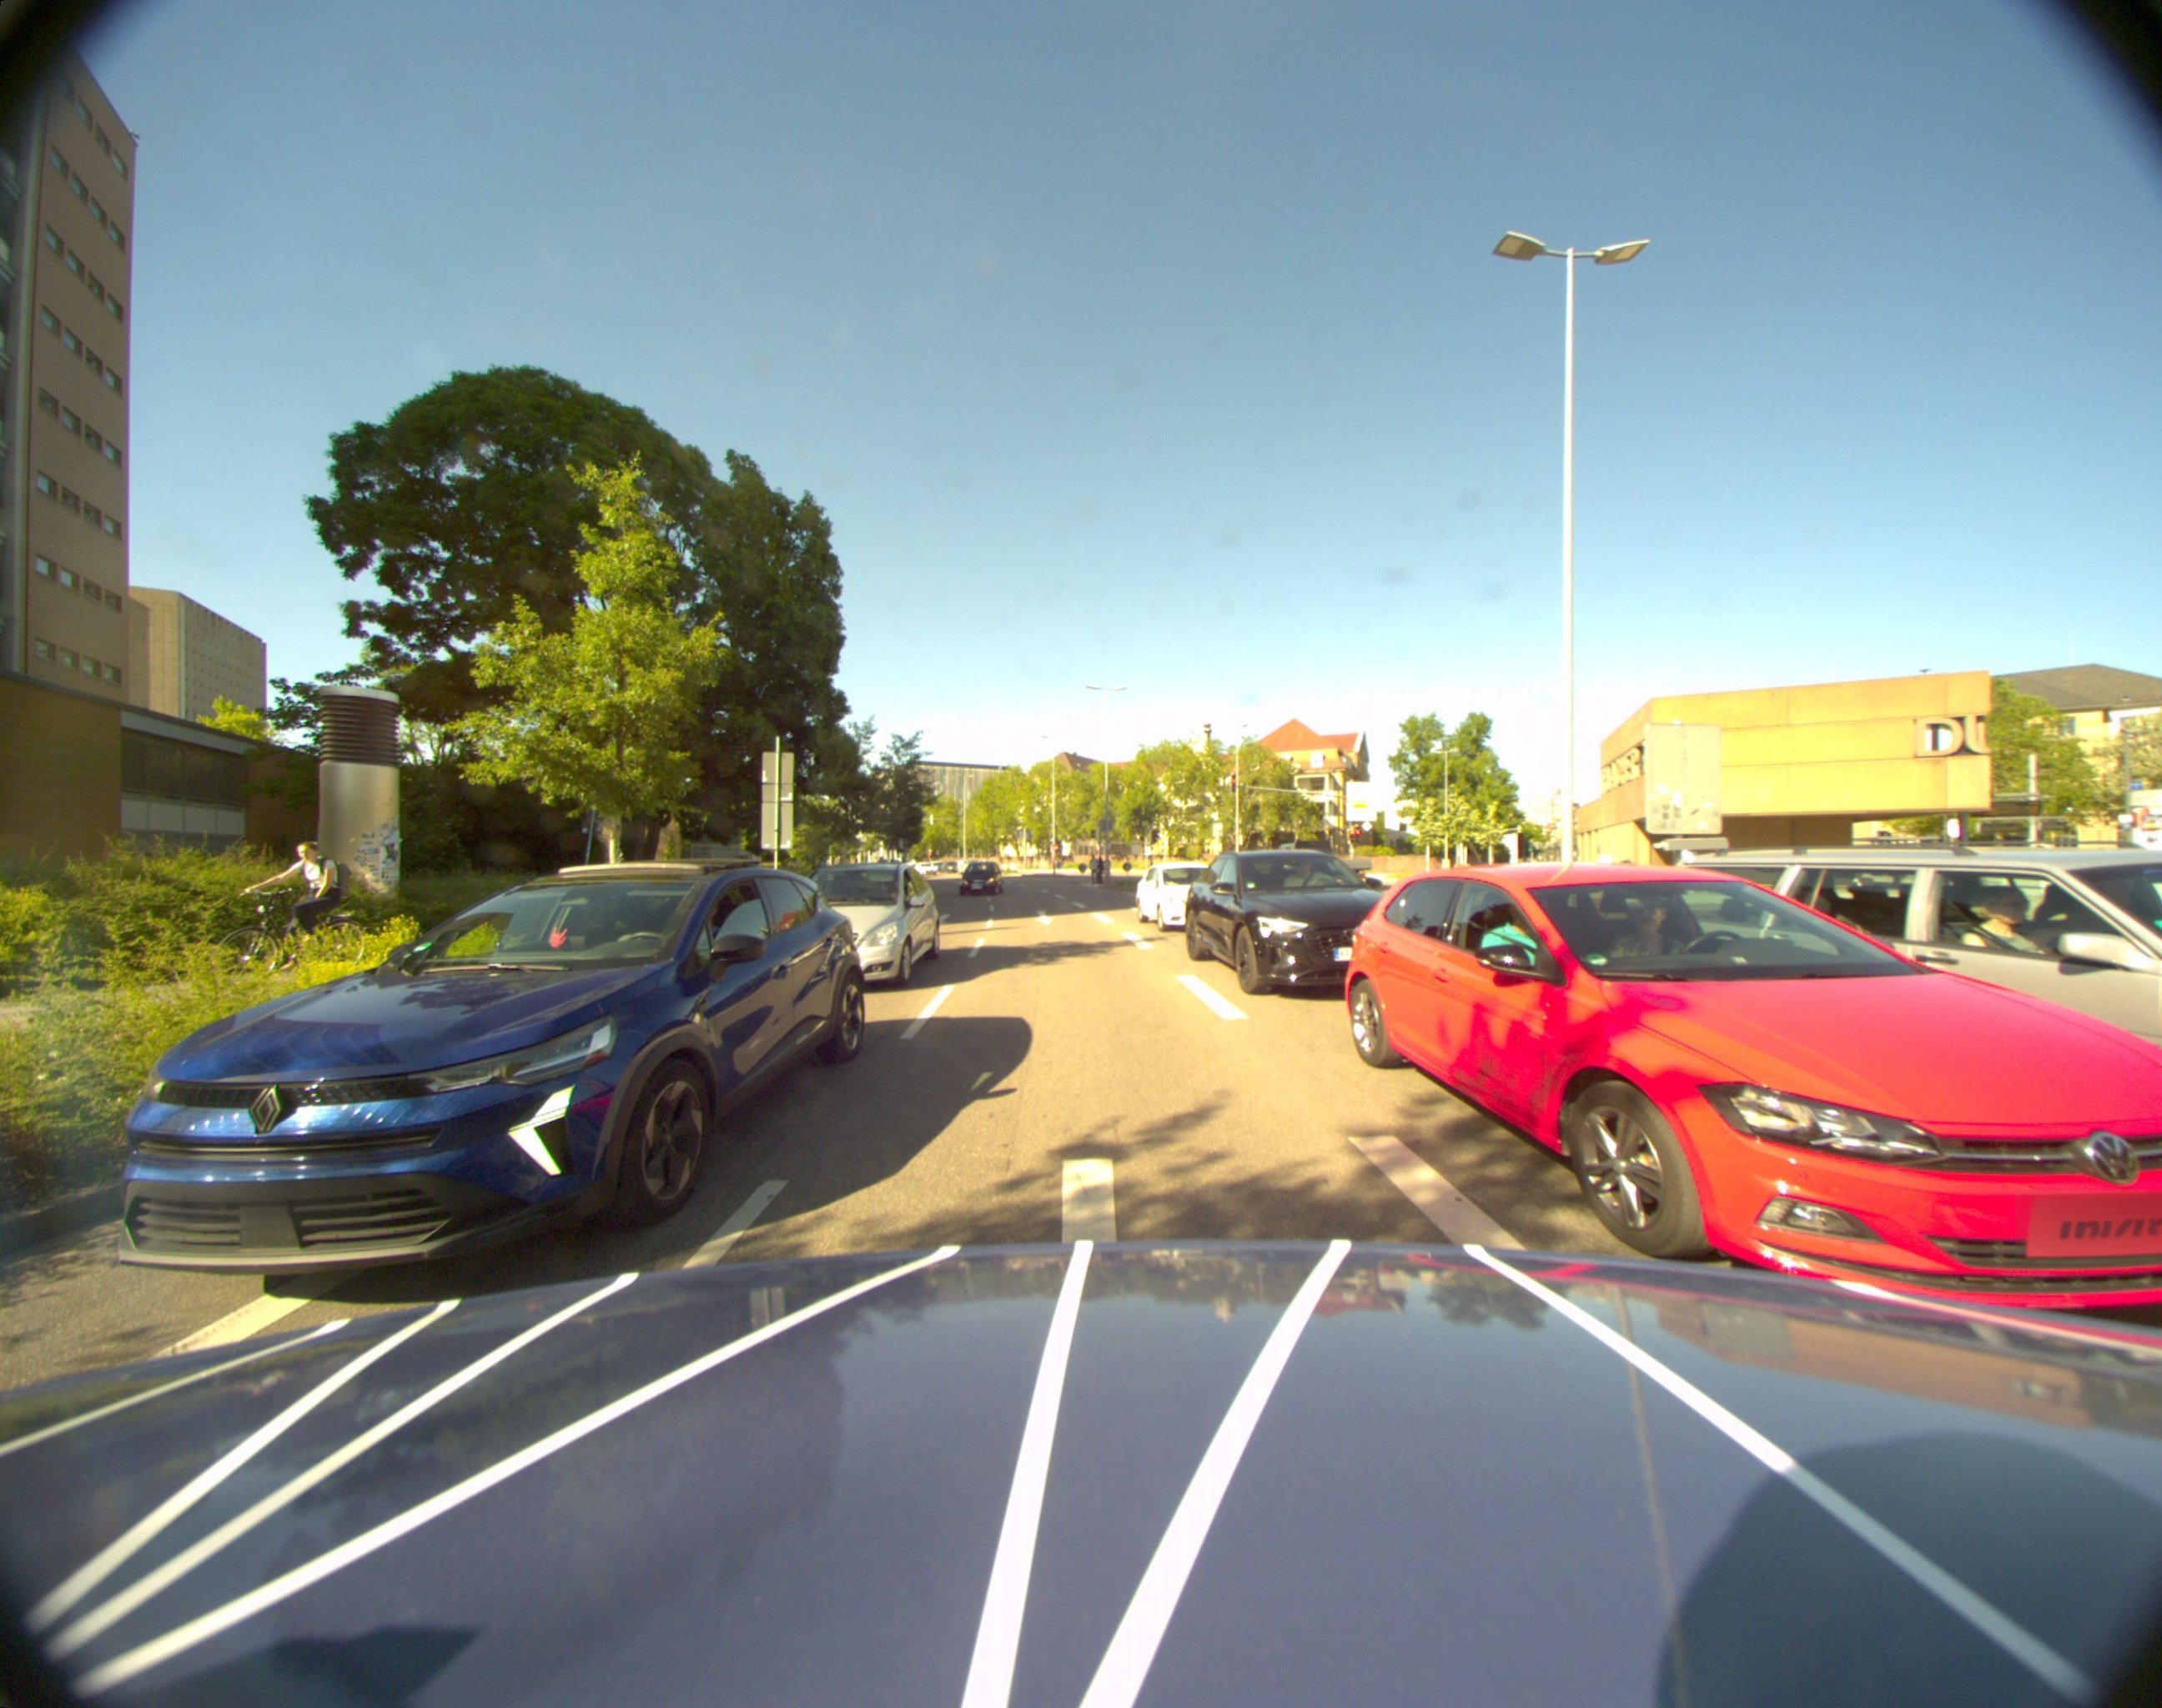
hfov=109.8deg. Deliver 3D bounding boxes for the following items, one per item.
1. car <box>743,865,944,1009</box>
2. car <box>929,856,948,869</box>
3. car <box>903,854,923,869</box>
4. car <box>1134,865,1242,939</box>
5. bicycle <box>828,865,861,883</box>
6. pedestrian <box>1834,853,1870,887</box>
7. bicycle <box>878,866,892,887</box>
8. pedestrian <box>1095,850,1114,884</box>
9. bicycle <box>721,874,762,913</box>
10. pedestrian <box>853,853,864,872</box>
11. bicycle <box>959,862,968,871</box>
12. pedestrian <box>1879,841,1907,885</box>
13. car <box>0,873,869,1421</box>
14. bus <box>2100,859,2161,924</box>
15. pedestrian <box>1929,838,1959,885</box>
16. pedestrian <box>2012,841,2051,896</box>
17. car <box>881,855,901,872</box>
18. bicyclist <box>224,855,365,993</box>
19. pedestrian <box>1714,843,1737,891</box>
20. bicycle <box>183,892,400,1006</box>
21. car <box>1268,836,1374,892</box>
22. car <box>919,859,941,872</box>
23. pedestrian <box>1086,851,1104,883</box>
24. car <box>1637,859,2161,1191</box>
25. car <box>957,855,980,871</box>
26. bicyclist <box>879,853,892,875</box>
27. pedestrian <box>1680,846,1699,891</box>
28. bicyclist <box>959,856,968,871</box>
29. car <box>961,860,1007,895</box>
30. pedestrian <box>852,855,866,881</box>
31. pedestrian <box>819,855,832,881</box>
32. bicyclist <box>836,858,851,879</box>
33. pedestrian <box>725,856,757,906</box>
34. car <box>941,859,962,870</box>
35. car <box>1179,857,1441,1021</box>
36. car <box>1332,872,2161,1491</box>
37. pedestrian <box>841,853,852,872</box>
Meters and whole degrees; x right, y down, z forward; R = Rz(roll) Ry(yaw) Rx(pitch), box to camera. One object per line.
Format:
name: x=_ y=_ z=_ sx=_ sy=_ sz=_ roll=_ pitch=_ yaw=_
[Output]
car: x=-3.137 y=0.992 z=10.907 sx=1.786 sy=1.615 sz=4.042 roll=-1 pitch=0 yaw=-3
car: x=-18.402 y=1.123 z=98.047 sx=1.598 sy=1.595 sz=3.066 roll=-1 pitch=0 yaw=-25
car: x=-24.248 y=1.053 z=109.655 sx=1.790 sy=2.002 sz=4.223 roll=-2 pitch=1 yaw=-26
car: x=2.284 y=0.988 z=17.138 sx=1.575 sy=1.410 sz=3.711 roll=-1 pitch=0 yaw=-5
bicycle: x=-16.846 y=1.408 z=54.061 sx=2.128 sy=1.168 sz=0.764 roll=-1 pitch=1 yaw=-28
pedestrian: x=30.151 y=0.621 z=29.721 sx=0.645 sy=1.303 sz=0.763 roll=-1 pitch=0 yaw=10
bicycle: x=-12.020 y=1.398 z=46.553 sx=0.693 sy=1.211 sz=1.832 roll=2 pitch=0 yaw=-17
pedestrian: x=1.310 y=0.723 z=42.693 sx=0.757 sy=1.814 sz=0.775 roll=-2 pitch=1 yaw=-17
bicycle: x=-9.746 y=1.113 z=21.878 sx=0.517 sy=1.038 sz=1.767 roll=1 pitch=0 yaw=-5
pedestrian: x=-22.918 y=0.876 z=78.315 sx=0.823 sy=1.906 sz=0.770 roll=-2 pitch=1 yaw=-29
bicycle: x=-12.286 y=1.316 z=79.375 sx=0.591 sy=0.884 sz=1.652 roll=-2 pitch=0 yaw=-23
pedestrian: x=33.162 y=0.366 z=31.034 sx=0.645 sy=1.766 sz=0.468 roll=-1 pitch=0 yaw=-4
car: x=-2.694 y=0.964 z=4.397 sx=1.705 sy=1.596 sz=4.084 roll=-1 pitch=0 yaw=1
bus: x=21.639 y=0.710 z=13.376 sx=1.646 sy=1.234 sz=4.182 roll=-1 pitch=0 yaw=-5
pedestrian: x=33.176 y=0.293 z=29.209 sx=0.645 sy=1.766 sz=0.468 roll=-1 pitch=0 yaw=-4
pedestrian: x=31.269 y=0.479 z=25.004 sx=0.644 sy=1.766 sz=0.469 roll=-1 pitch=0 yaw=21
car: x=-21.844 y=1.093 z=87.258 sx=1.830 sy=1.842 sz=3.745 roll=0 pitch=0 yaw=-21
bicyclist: x=-9.502 y=0.807 z=9.222 sx=0.687 sy=1.589 sz=0.977 roll=0 pitch=0 yaw=-1
pedestrian: x=24.394 y=0.490 z=28.769 sx=0.644 sy=1.766 sz=0.618 roll=0 pitch=1 yaw=42
bicycle: x=-9.506 y=1.087 z=9.278 sx=0.687 sy=1.157 sz=1.883 roll=0 pitch=0 yaw=-1
car: x=11.230 y=0.440 z=36.139 sx=2.117 sy=2.300 sz=6.209 roll=-3 pitch=0 yaw=-10
car: x=-16.617 y=1.282 z=83.468 sx=1.754 sy=1.370 sz=3.568 roll=-1 pitch=0 yaw=-21
pedestrian: x=0.791 y=0.754 z=43.924 sx=0.887 sy=1.814 sz=0.776 roll=-2 pitch=1 yaw=-7
car: x=5.792 y=0.800 z=4.230 sx=1.713 sy=1.464 sz=4.750 roll=-2 pitch=0 yaw=-3
car: x=-12.422 y=1.014 z=83.774 sx=1.527 sy=1.669 sz=3.374 roll=-2 pitch=0 yaw=-24
bicyclist: x=-11.960 y=0.610 z=46.399 sx=0.723 sy=1.271 sz=0.906 roll=2 pitch=0 yaw=-17
pedestrian: x=23.985 y=0.565 z=29.952 sx=0.467 sy=1.766 sz=0.647 roll=0 pitch=0 yaw=29
bicyclist: x=-12.266 y=0.959 z=79.271 sx=0.696 sy=1.549 sz=0.814 roll=-2 pitch=1 yaw=-23
car: x=-4.598 y=1.075 z=36.359 sx=1.650 sy=1.601 sz=3.490 roll=0 pitch=0 yaw=1
pedestrian: x=-13.857 y=0.876 z=47.421 sx=0.694 sy=1.594 sz=0.660 roll=0 pitch=0 yaw=-27
pedestrian: x=-15.394 y=0.837 z=45.754 sx=0.694 sy=1.594 sz=0.660 roll=0 pitch=0 yaw=-25
bicyclist: x=-16.883 y=1.045 z=54.029 sx=0.848 sy=1.465 sz=0.764 roll=-1 pitch=0 yaw=-28
pedestrian: x=-9.749 y=0.766 z=21.815 sx=0.517 sy=1.394 sz=0.961 roll=1 pitch=0 yaw=-5
car: x=-15.656 y=1.272 z=91.716 sx=1.587 sy=1.198 sz=3.992 roll=-2 pitch=2 yaw=-23
car: x=2.576 y=0.854 z=9.790 sx=1.859 sy=1.606 sz=4.452 roll=-1 pitch=0 yaw=-3
car: x=2.794 y=0.889 z=3.893 sx=1.674 sy=1.464 sz=3.853 roll=-2 pitch=0 yaw=-1
pedestrian: x=-24.043 y=0.919 z=77.904 sx=0.823 sy=1.906 sz=0.770 roll=-2 pitch=1 yaw=-29
